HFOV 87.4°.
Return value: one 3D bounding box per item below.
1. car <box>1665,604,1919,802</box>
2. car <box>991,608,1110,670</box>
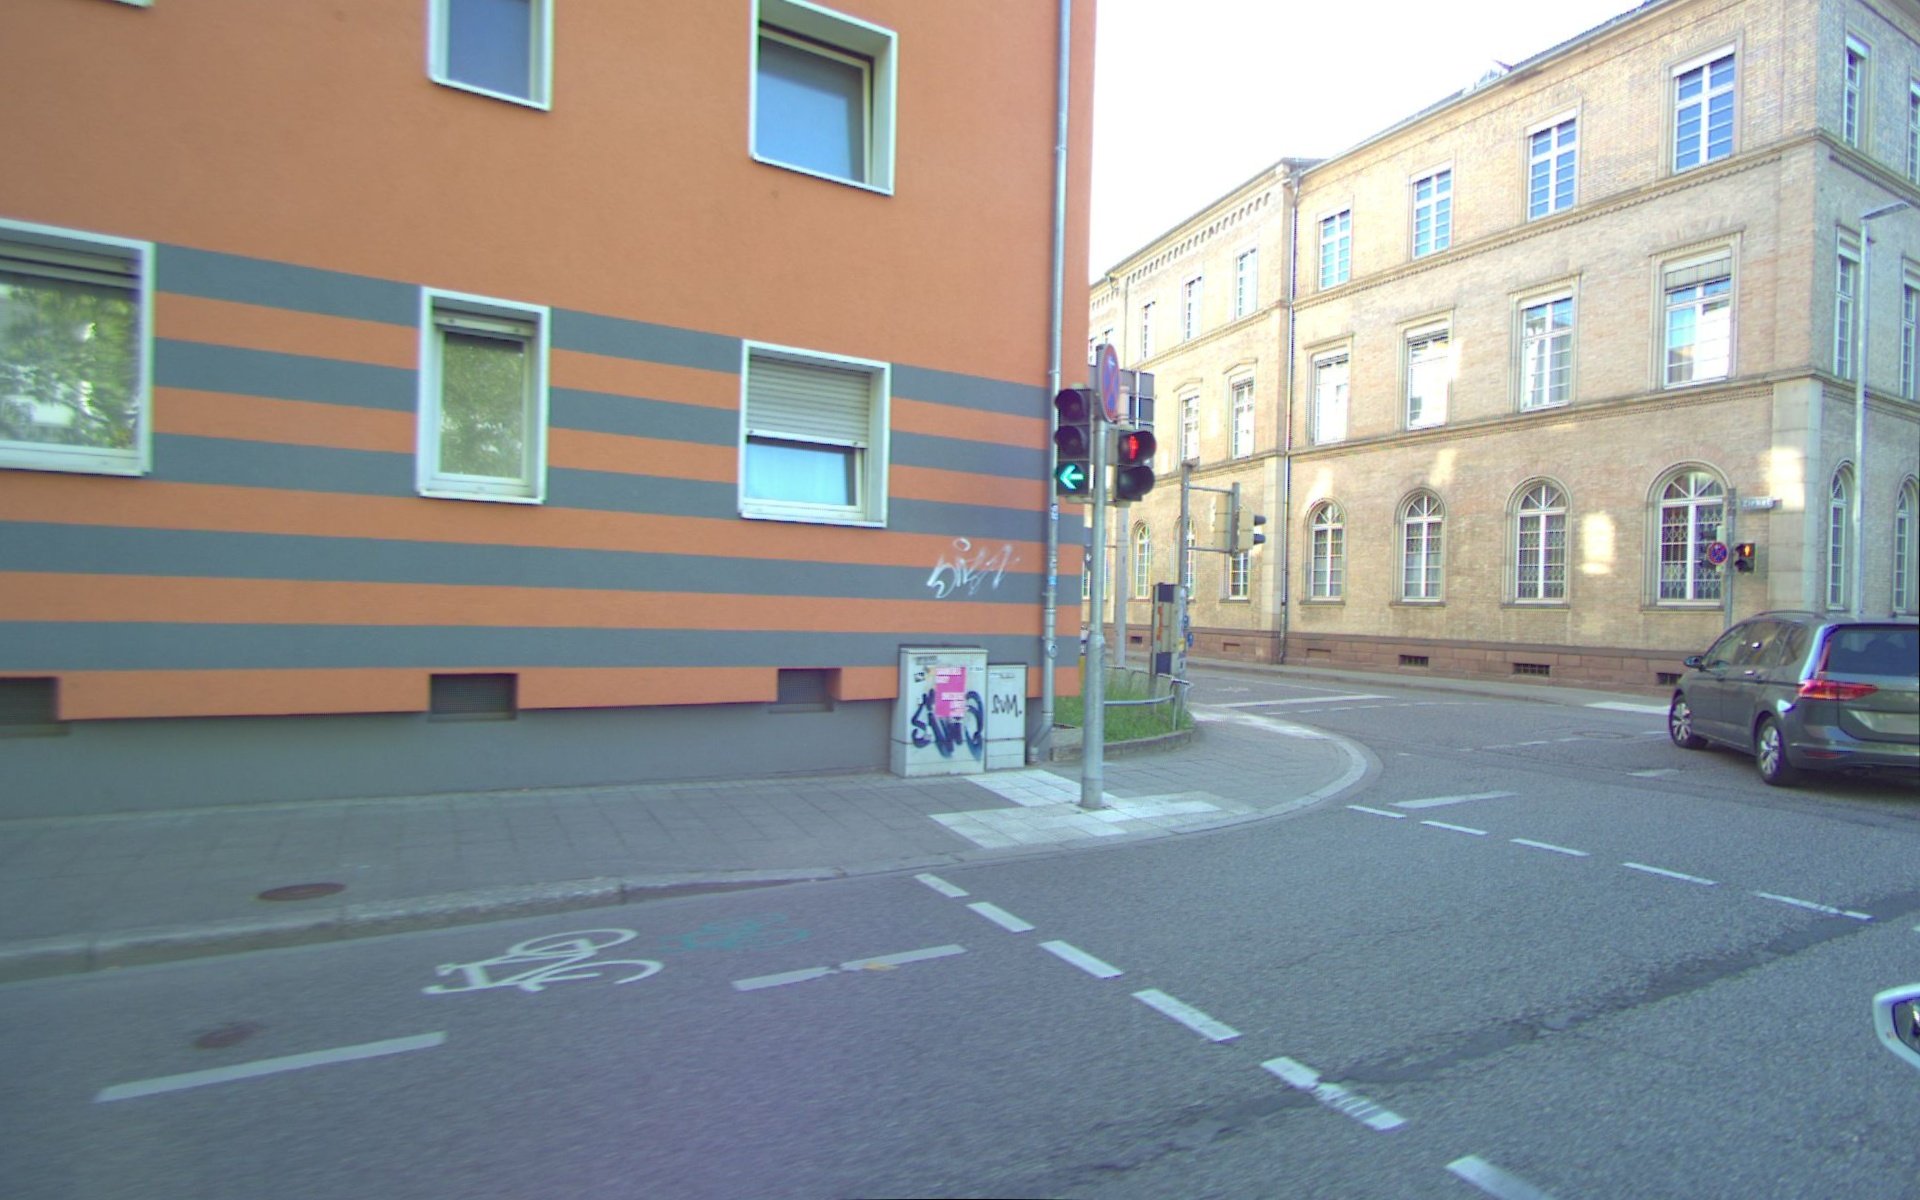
[{"bbox_3d":[8.733,0.882,10.212,1.734,1.628,3.998,1,0,23],"label":"car"},{"bbox_3d":[2.420,1.016,27.998,1.720,1.506,4.117,0,0,-20],"label":"car"}]
